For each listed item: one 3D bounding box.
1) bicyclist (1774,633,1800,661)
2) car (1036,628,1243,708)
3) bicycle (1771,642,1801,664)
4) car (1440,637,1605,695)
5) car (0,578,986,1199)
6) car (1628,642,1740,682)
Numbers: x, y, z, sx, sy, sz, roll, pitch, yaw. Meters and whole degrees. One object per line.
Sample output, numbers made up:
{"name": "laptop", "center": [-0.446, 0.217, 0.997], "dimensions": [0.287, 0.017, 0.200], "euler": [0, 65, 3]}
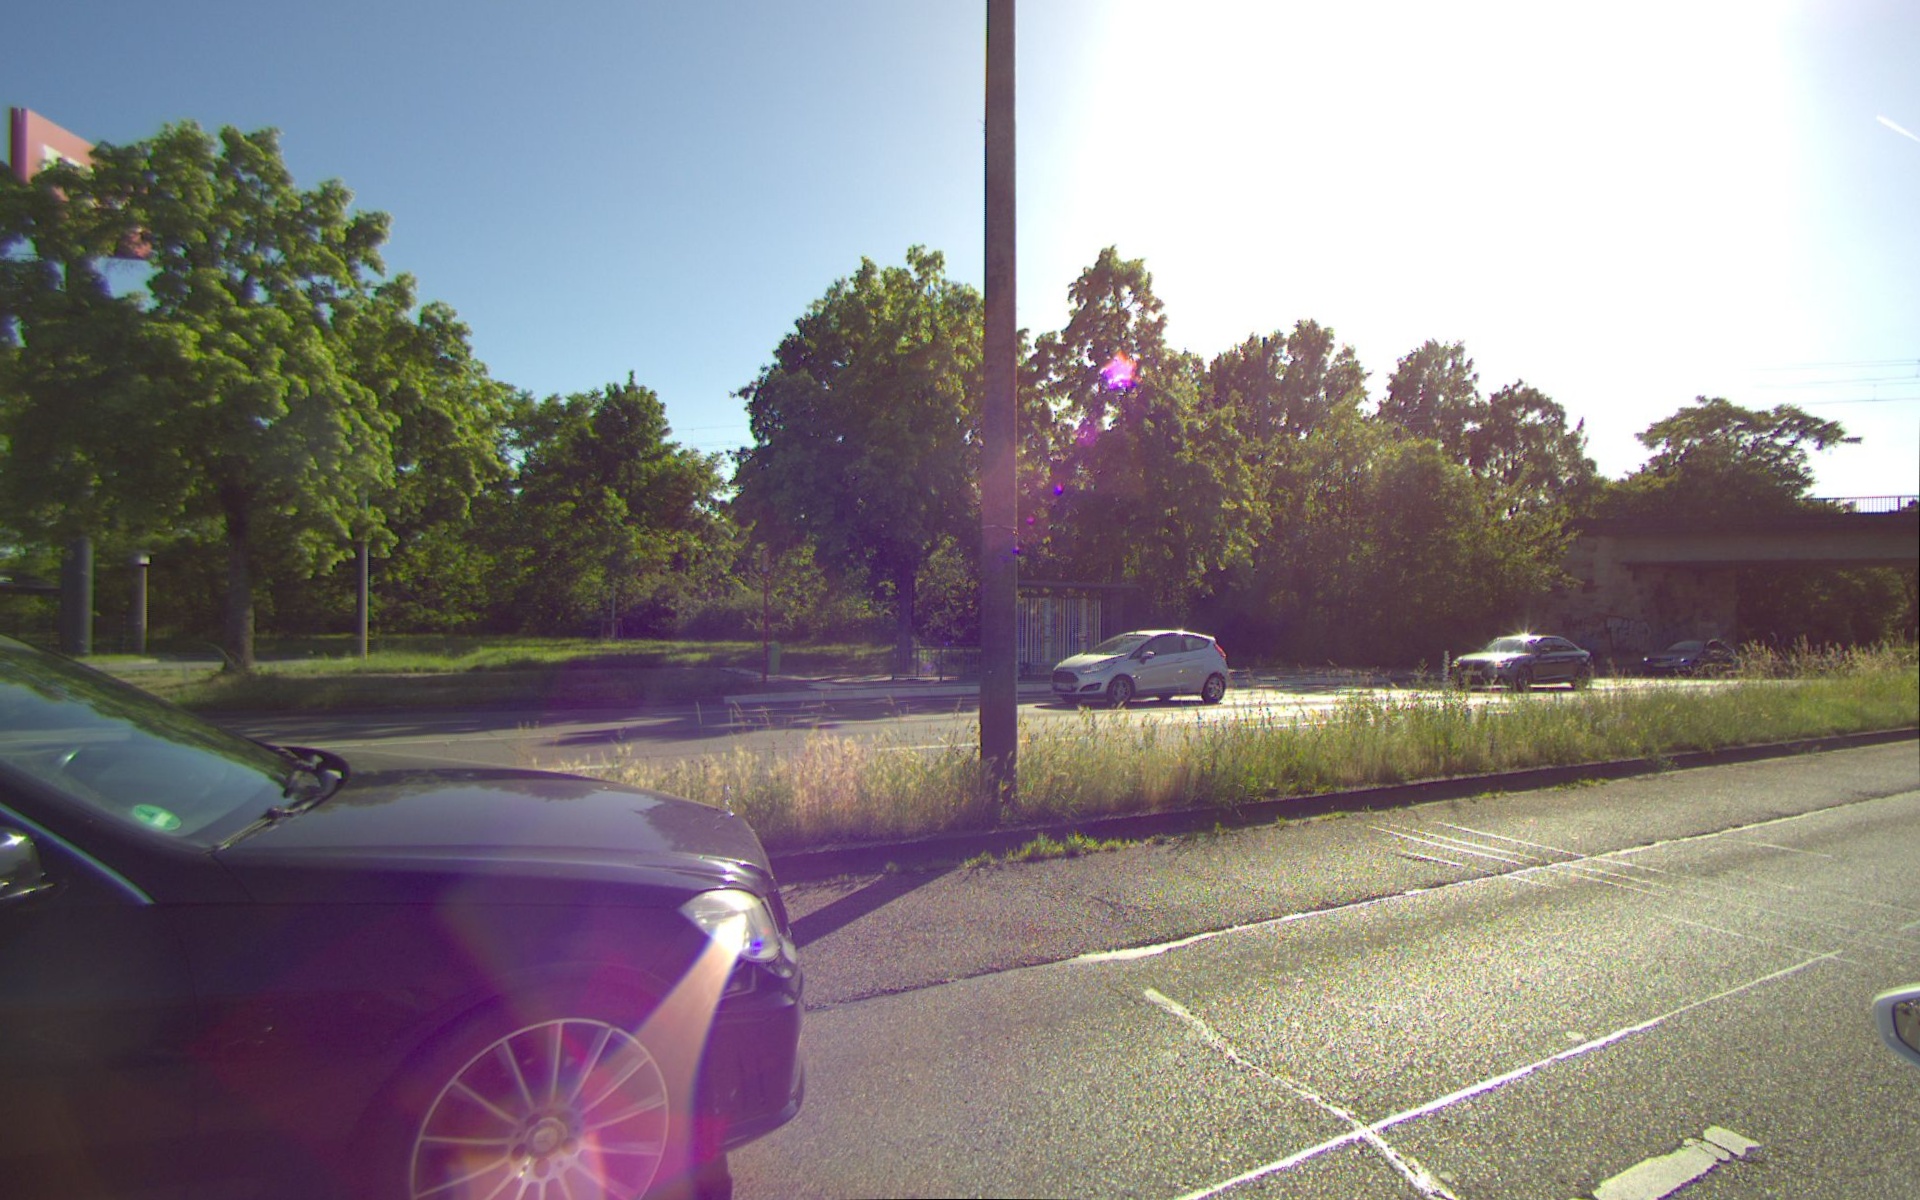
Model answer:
{"name": "bicyclist", "center": [42.364, 2.416, 51.452], "dimensions": [1.015, 1.420, 0.676], "euler": [2, 0, -31]}
{"name": "car", "center": [3.652, 1.360, 20.244], "dimensions": [4.064, 1.469, 1.633], "euler": [2, -4, -31]}
{"name": "bicycle", "center": [42.289, 2.715, 51.419], "dimensions": [1.695, 1.044, 0.680], "euler": [2, 0, -31]}
{"name": "car", "center": [15.069, 1.746, 26.863], "dimensions": [4.578, 1.453, 1.809], "euler": [2, -4, -31]}
{"name": "car", "center": [-2.517, 0.710, 2.169], "dimensions": [4.860, 1.502, 1.950], "euler": [2, -1, -30]}
{"name": "car", "center": [28.063, 2.396, 38.916], "dimensions": [4.438, 1.473, 1.905], "euler": [2, -4, -31]}
